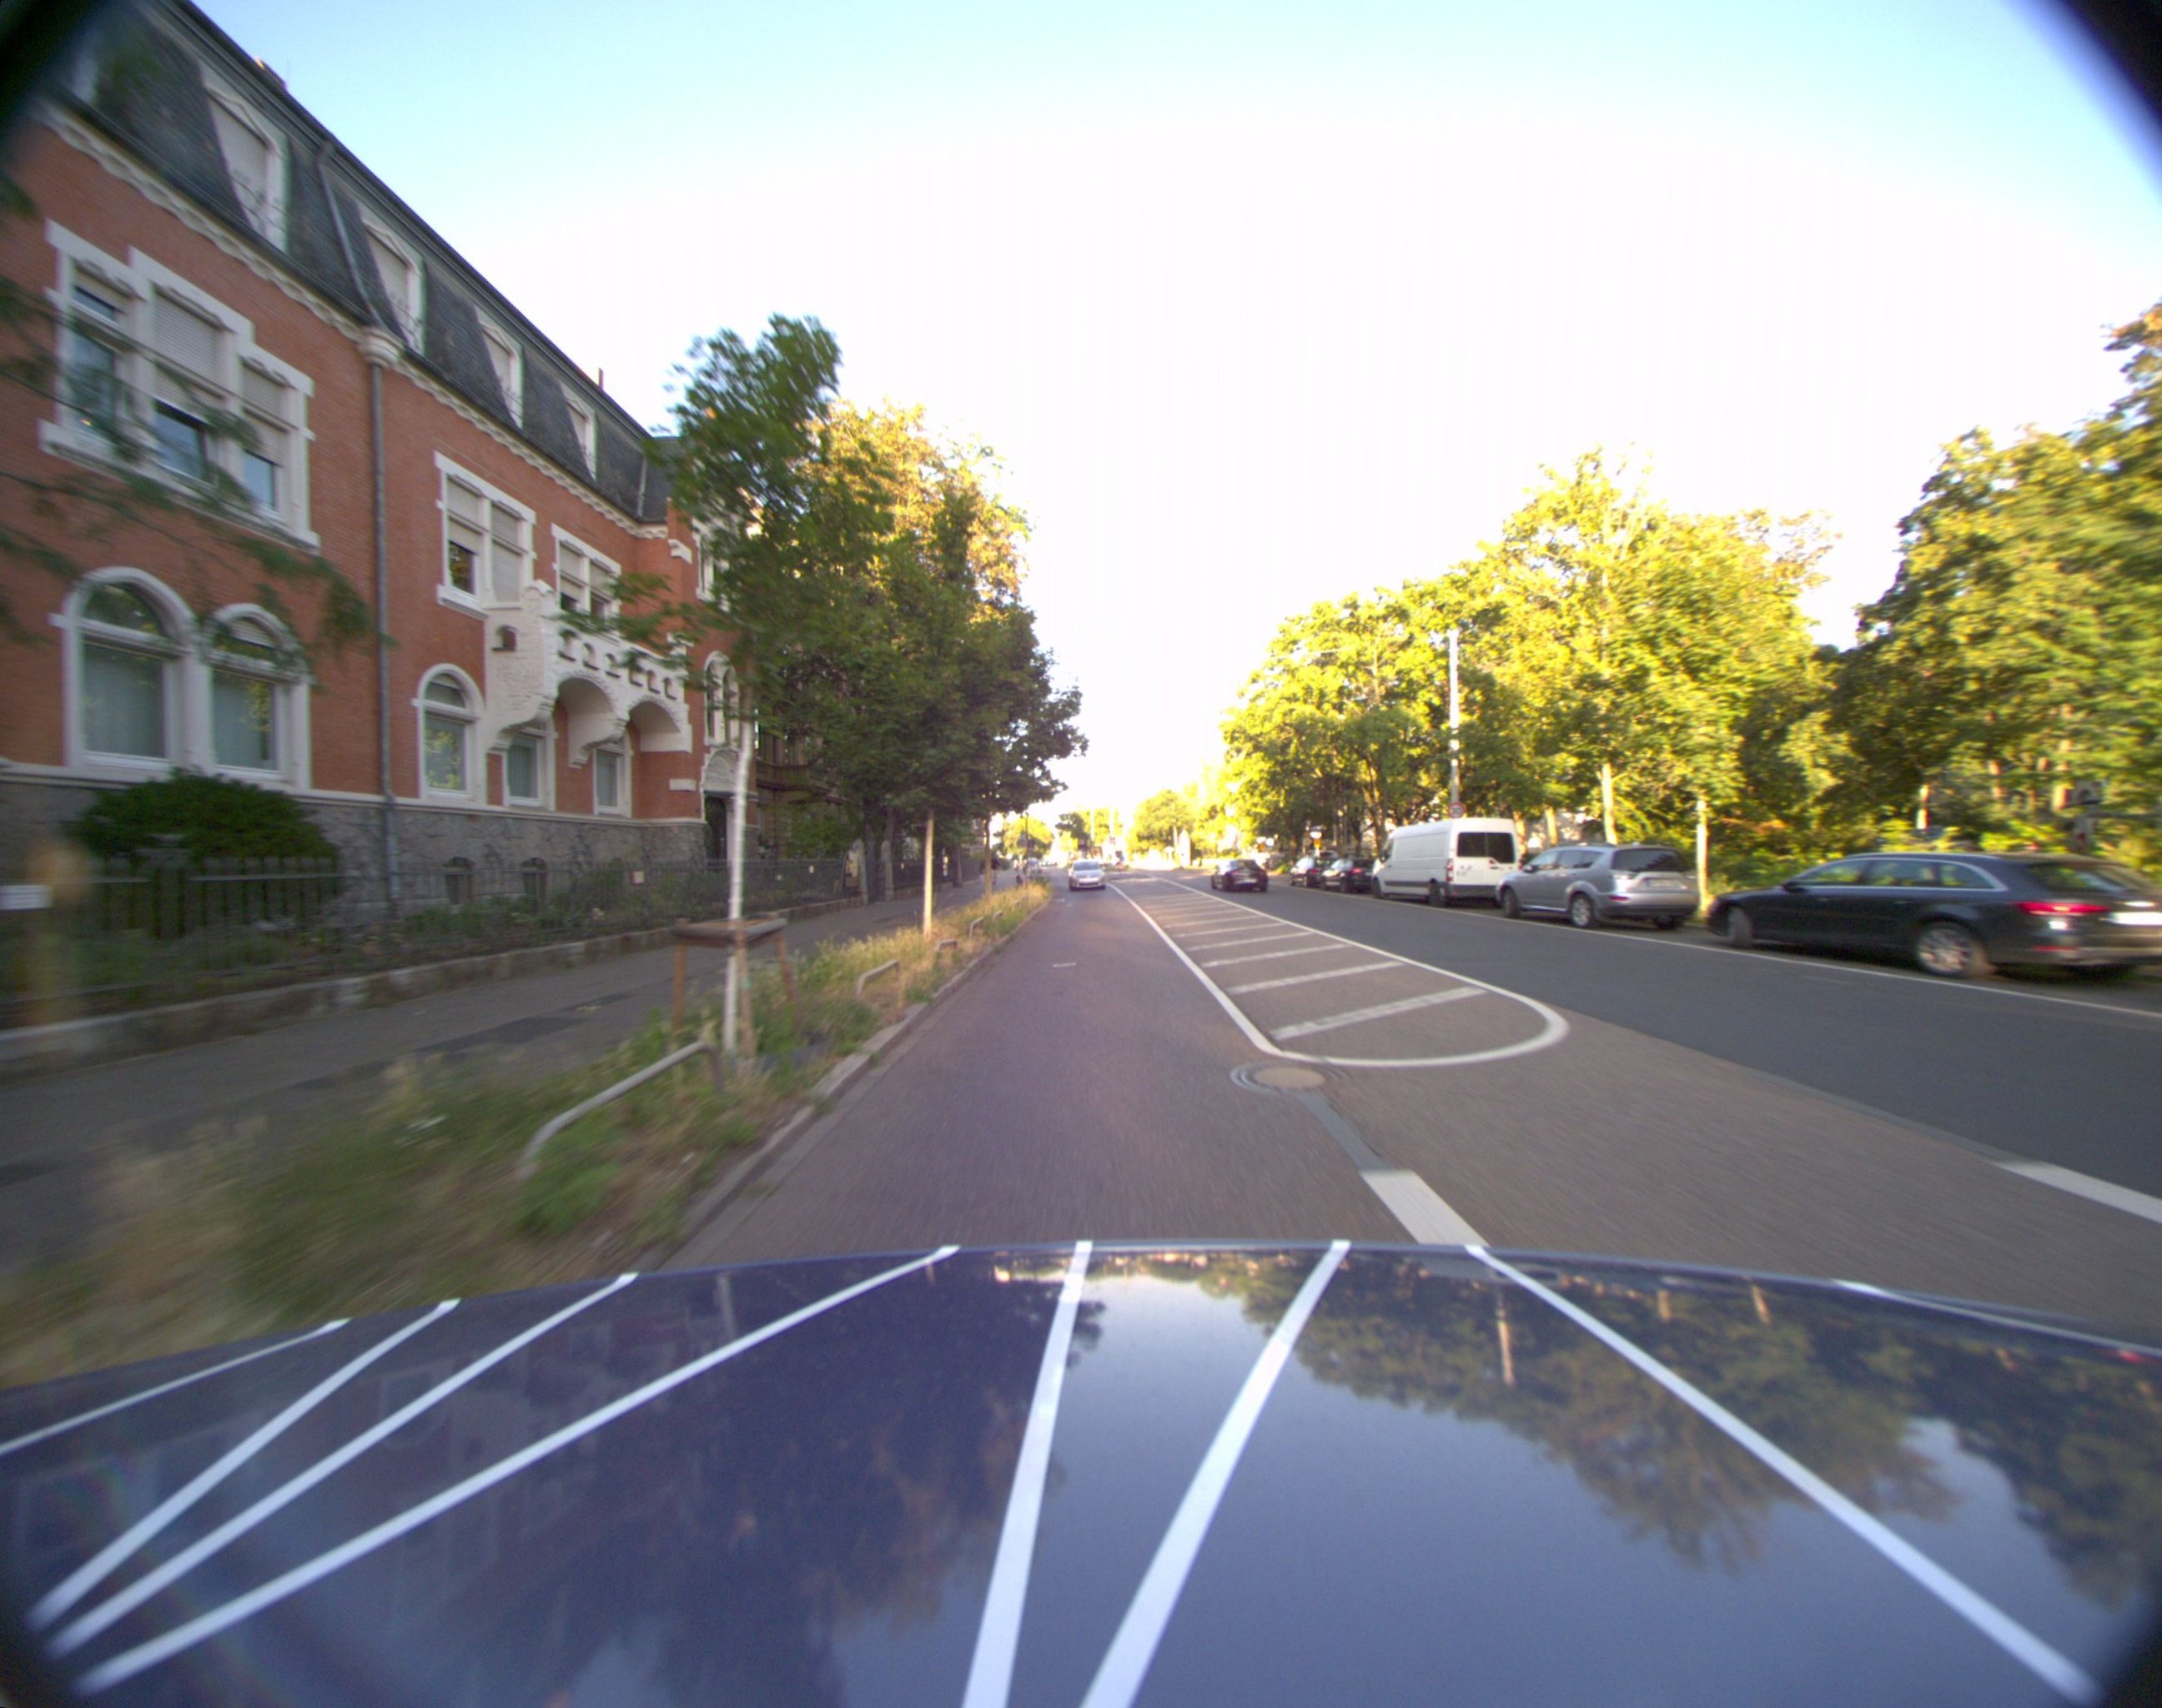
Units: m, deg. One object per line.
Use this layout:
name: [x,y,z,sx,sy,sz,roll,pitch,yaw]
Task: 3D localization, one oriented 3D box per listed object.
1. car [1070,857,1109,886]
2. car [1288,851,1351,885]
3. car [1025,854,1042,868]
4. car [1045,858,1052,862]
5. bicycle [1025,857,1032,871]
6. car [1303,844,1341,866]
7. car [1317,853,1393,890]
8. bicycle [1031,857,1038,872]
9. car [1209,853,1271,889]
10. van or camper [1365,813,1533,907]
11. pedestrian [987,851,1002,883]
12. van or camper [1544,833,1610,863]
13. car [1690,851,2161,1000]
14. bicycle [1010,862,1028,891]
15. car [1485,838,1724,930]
car: [0.369,0.878,39.245,1.895,1.454,3.965,0,0,-1]
car: [11.219,0.637,35.997,1.627,1.498,4.544,-1,0,1]
car: [-5.207,0.821,84.449,1.731,1.456,3.546,2,0,-2]
car: [-10.629,2.076,247.888,1.948,1.258,4.162,0,-1,-5]
bicycle: [-5.109,0.982,74.093,0.567,1.268,2.263,3,1,-3]
car: [20.701,0.054,65.390,1.823,1.784,3.999,-2,0,-3]
car: [11.116,0.663,31.126,1.632,1.421,4.242,0,0,0]
bicycle: [-4.531,1.021,74.135,0.567,1.292,2.263,3,1,-3]
car: [6.724,0.679,32.541,1.770,1.394,4.545,-1,0,1]
van or camper: [10.833,0.166,23.098,2.096,2.454,6.305,0,0,0]
pedestrian: [-4.885,0.746,43.085,0.747,1.768,0.831,2,0,-4]
van or camper: [42.837,-0.522,65.794,2.071,2.457,5.427,-2,0,0]
car: [10.507,0.701,9.743,1.740,1.437,4.625,-1,0,1]
bicycle: [-2.623,0.950,32.295,0.648,1.160,1.930,-3,0,-3]
car: [10.524,0.533,15.795,1.870,1.635,4.571,0,0,1]
